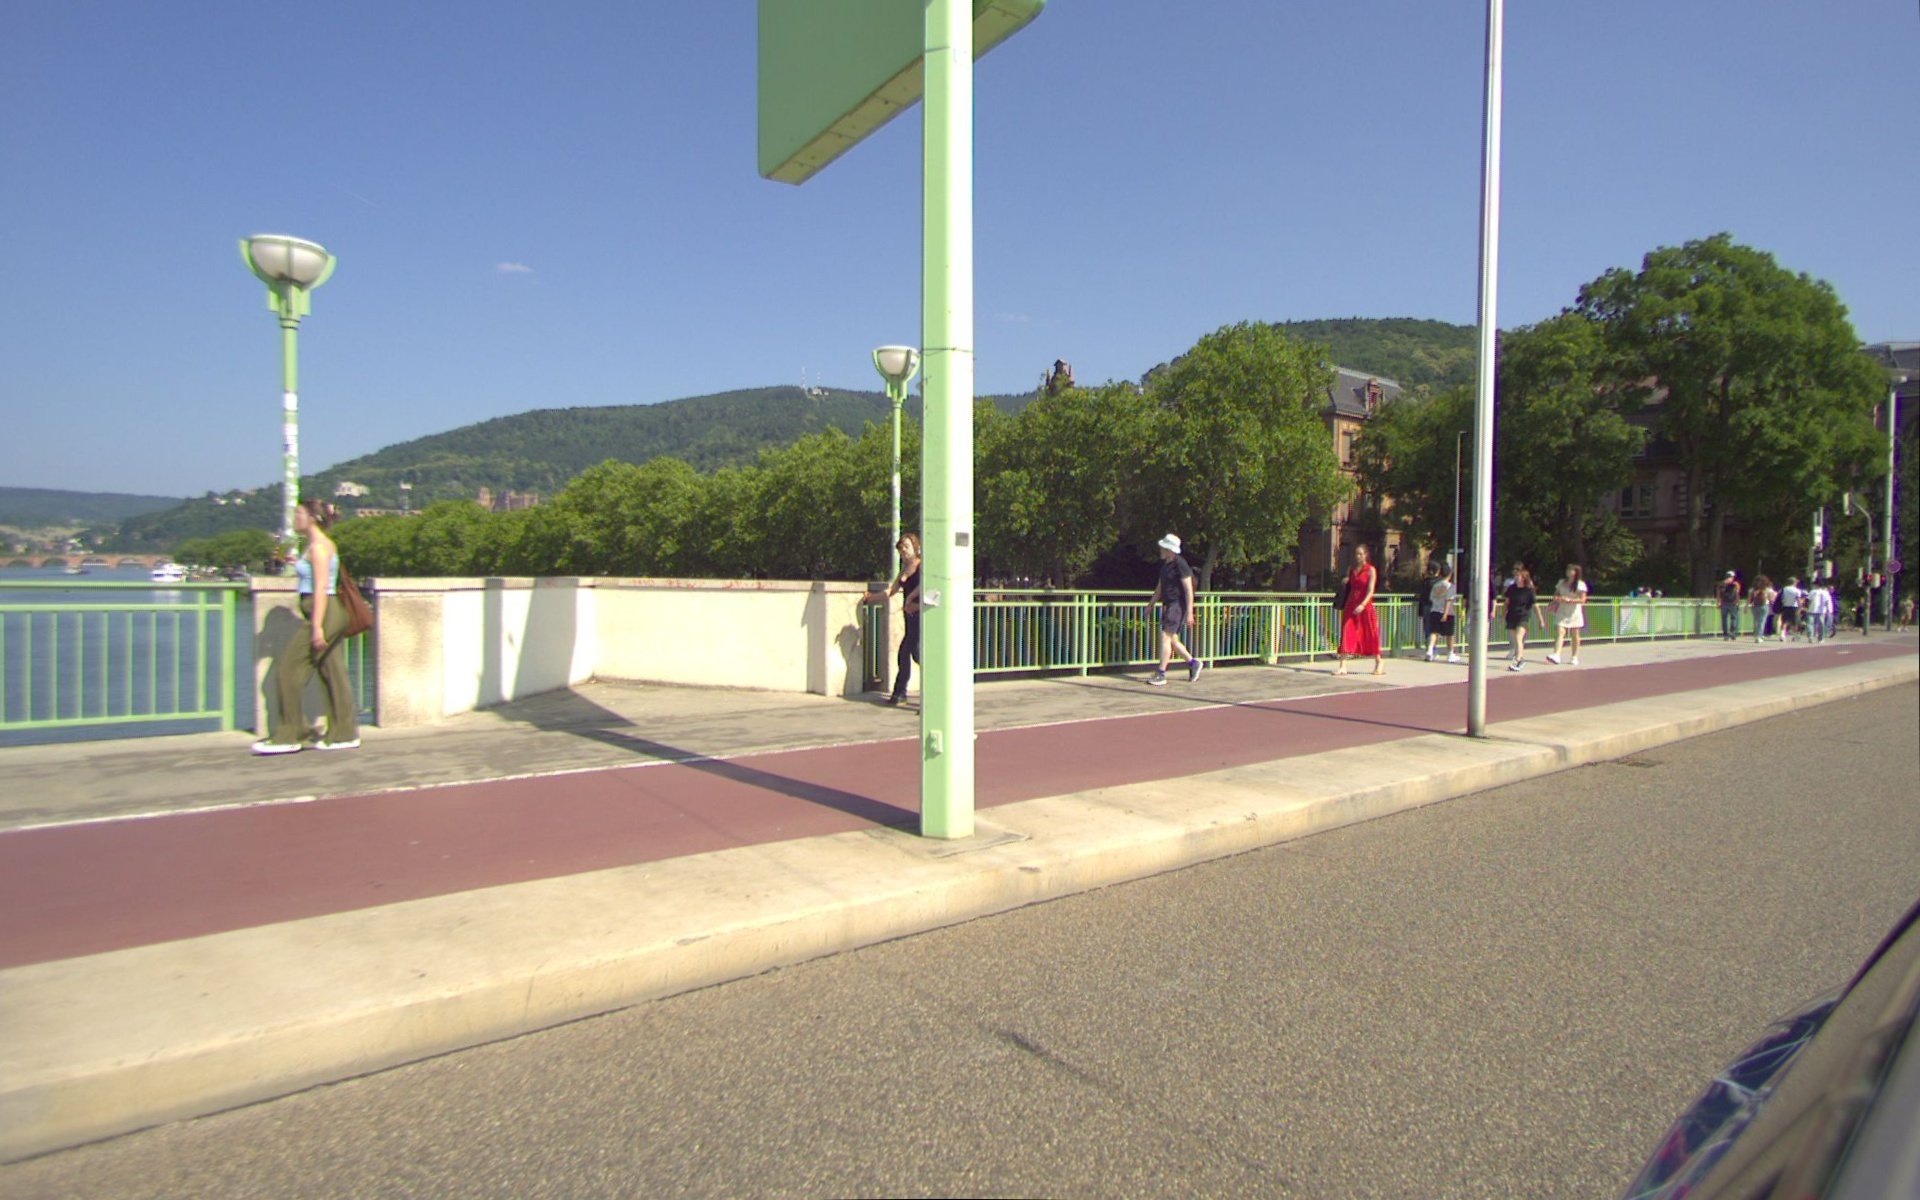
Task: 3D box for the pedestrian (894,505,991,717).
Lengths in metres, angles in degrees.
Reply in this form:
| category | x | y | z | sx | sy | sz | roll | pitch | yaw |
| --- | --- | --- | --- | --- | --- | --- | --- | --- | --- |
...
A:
| category | x | y | z | sx | sy | sz | roll | pitch | yaw |
| --- | --- | --- | --- | --- | --- | --- | --- | --- | --- |
| pedestrian | -0.158 | 0.081 | 9.076 | 0.622 | 1.815 | 0.586 | -1 | 2 | -43 |

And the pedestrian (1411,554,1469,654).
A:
| category | x | y | z | sx | sy | sz | roll | pitch | yaw |
| --- | --- | --- | --- | --- | --- | --- | --- | --- | --- |
| pedestrian | 8.135 | 0.065 | 17.152 | 0.679 | 1.652 | 0.651 | 0 | 0 | -37 |

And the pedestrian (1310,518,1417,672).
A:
| category | x | y | z | sx | sy | sz | roll | pitch | yaw |
| --- | --- | --- | --- | --- | --- | --- | --- | --- | --- |
| pedestrian | 5.453 | -0.087 | 13.694 | 0.922 | 1.978 | 1.017 | -1 | 2 | -40 |

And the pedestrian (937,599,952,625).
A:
| category | x | y | z | sx | sy | sz | roll | pitch | yaw |
| --- | --- | --- | --- | --- | --- | --- | --- | --- | --- |
| pedestrian | -1.032 | 0.808 | 68.929 | 0.665 | 1.797 | 0.741 | 1 | 0 | -43 |

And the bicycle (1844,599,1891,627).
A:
| category | x | y | z | sx | sy | sz | roll | pitch | yaw |
| --- | --- | --- | --- | --- | --- | --- | --- | --- | --- |
| bicycle | 45.903 | 0.668 | 51.169 | 2.227 | 1.219 | 0.805 | -3 | 5 | -21 |

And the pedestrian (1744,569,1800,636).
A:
| category | x | y | z | sx | sy | sz | roll | pitch | yaw |
| --- | --- | --- | --- | --- | --- | --- | --- | --- | --- |
| pedestrian | 20.637 | 0.045 | 25.724 | 0.906 | 1.635 | 0.986 | -1 | 2 | -44 |

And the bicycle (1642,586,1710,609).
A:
| category | x | y | z | sx | sy | sz | roll | pitch | yaw |
| --- | --- | --- | --- | --- | --- | --- | --- | --- | --- |
| bicycle | 26.102 | -0.097 | 36.912 | 0.554 | 0.837 | 1.946 | 1 | 0 | -33 |

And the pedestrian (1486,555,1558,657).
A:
| category | x | y | z | sx | sy | sz | roll | pitch | yaw |
| --- | --- | --- | --- | --- | --- | --- | --- | --- | --- |
| pedestrian | 9.667 | 0.087 | 17.410 | 0.871 | 1.697 | 0.834 | -1 | 2 | -44 |

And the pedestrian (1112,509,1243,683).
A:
| category | x | y | z | sx | sy | sz | roll | pitch | yaw |
| --- | --- | --- | --- | --- | --- | --- | --- | --- | --- |
| pedestrian | 2.575 | -0.065 | 11.961 | 1.233 | 1.918 | 0.986 | -1 | 2 | -44 |

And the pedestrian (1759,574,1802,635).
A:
| category | x | y | z | sx | sy | sz | roll | pitch | yaw |
| --- | --- | --- | --- | --- | --- | --- | --- | --- | --- |
| pedestrian | 23.021 | 0.119 | 28.397 | 0.934 | 1.655 | 0.799 | 0 | 2 | -44 |

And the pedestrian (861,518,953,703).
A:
| category | x | y | z | sx | sy | sz | roll | pitch | yaw |
| --- | --- | --- | --- | --- | --- | --- | --- | --- | --- |
| pedestrian | -0.501 | 0.086 | 9.559 | 0.688 | 1.669 | 0.523 | -1 | 2 | -44 |

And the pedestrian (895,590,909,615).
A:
| category | x | y | z | sx | sy | sz | roll | pitch | yaw |
| --- | --- | --- | --- | --- | --- | --- | --- | --- | --- |
| pedestrian | -4.208 | 0.168 | 73.545 | 0.665 | 1.797 | 0.741 | 1 | 0 | -43 |

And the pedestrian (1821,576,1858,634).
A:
| category | x | y | z | sx | sy | sz | roll | pitch | yaw |
| --- | --- | --- | --- | --- | --- | --- | --- | --- | --- |
| pedestrian | 29.161 | 0.155 | 33.569 | 0.632 | 1.879 | 0.776 | 1 | 0 | -35 |

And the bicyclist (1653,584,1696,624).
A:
| category | x | y | z | sx | sy | sz | roll | pitch | yaw |
| --- | --- | --- | --- | --- | --- | --- | --- | --- | --- |
| bicyclist | 26.697 | 0.145 | 37.836 | 0.746 | 1.492 | 1.085 | 1 | 0 | -18 |

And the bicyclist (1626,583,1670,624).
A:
| category | x | y | z | sx | sy | sz | roll | pitch | yaw |
| --- | --- | --- | --- | --- | --- | --- | --- | --- | --- |
| bicyclist | 25.970 | 0.128 | 38.232 | 0.909 | 1.492 | 1.084 | 1 | 0 | -30 |

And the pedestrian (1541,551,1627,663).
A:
| category | x | y | z | sx | sy | sz | roll | pitch | yaw |
| --- | --- | --- | --- | --- | --- | --- | --- | --- | --- |
| pedestrian | 10.310 | 0.090 | 16.725 | 0.914 | 1.772 | 0.986 | -1 | 2 | -44 |

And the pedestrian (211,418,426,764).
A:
| category | x | y | z | sx | sy | sz | roll | pitch | yaw |
| --- | --- | --- | --- | --- | --- | --- | --- | --- | --- |
| pedestrian | -4.199 | -0.072 | 6.634 | 1.042 | 2.038 | 0.874 | -1 | 2 | -44 |

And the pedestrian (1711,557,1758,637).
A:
| category | x | y | z | sx | sy | sz | roll | pitch | yaw |
| --- | --- | --- | --- | --- | --- | --- | --- | --- | --- |
| pedestrian | 20.208 | -0.088 | 26.403 | 0.938 | 2.038 | 0.804 | -1 | 2 | -44 |

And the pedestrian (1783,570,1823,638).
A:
| category | x | y | z | sx | sy | sz | roll | pitch | yaw |
| --- | --- | --- | --- | --- | --- | --- | --- | --- | --- |
| pedestrian | 22.215 | 0.093 | 26.670 | 0.719 | 1.738 | 0.696 | -1 | 2 | -44 |

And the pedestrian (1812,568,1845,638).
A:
| category | x | y | z | sx | sy | sz | roll | pitch | yaw |
| --- | --- | --- | --- | --- | --- | --- | --- | --- | --- |
| pedestrian | 22.873 | 0.067 | 26.653 | 0.635 | 1.821 | 0.549 | -1 | 2 | -44 |

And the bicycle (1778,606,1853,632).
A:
| category | x | y | z | sx | sy | sz | roll | pitch | yaw |
| --- | --- | --- | --- | --- | --- | --- | --- | --- | --- |
| bicycle | 30.069 | 0.655 | 35.602 | 0.554 | 0.837 | 1.946 | 1 | 0 | -33 |

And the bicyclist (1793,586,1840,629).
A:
| category | x | y | z | sx | sy | sz | roll | pitch | yaw |
| --- | --- | --- | --- | --- | --- | --- | --- | --- | --- |
| bicyclist | 30.124 | 0.266 | 35.605 | 0.785 | 1.492 | 1.084 | 1 | 0 | -34 |

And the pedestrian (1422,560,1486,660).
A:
| category | x | y | z | sx | sy | sz | roll | pitch | yaw |
| --- | --- | --- | --- | --- | --- | --- | --- | --- | --- |
| pedestrian | 8.075 | 0.150 | 16.555 | 0.679 | 1.582 | 0.651 | 1 | 2 | -37 |

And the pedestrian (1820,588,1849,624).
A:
| category | x | y | z | sx | sy | sz | roll | pitch | yaw |
| --- | --- | --- | --- | --- | --- | --- | --- | --- | --- |
| pedestrian | 44.787 | 0.291 | 51.822 | 1.054 | 1.802 | 0.693 | 1 | 4 | 38 |

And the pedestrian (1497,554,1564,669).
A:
| category | x | y | z | sx | sy | sz | roll | pitch | yaw |
| --- | --- | --- | --- | --- | --- | --- | --- | --- | --- |
| pedestrian | 8.645 | 0.152 | 15.333 | 0.854 | 1.670 | 0.655 | -1 | 2 | -44 |

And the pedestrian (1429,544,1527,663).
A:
| category | x | y | z | sx | sy | sz | roll | pitch | yaw |
| --- | --- | --- | --- | --- | --- | --- | --- | --- | --- |
| pedestrian | 8.244 | 0.030 | 16.111 | 1.233 | 1.791 | 0.986 | 0 | 2 | -44 |

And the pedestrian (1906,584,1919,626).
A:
| category | x | y | z | sx | sy | sz | roll | pitch | yaw |
| --- | --- | --- | --- | --- | --- | --- | --- | --- | --- |
| pedestrian | 47.619 | 0.233 | 50.259 | 1.042 | 2.038 | 0.776 | 0 | 2 | -43 |
